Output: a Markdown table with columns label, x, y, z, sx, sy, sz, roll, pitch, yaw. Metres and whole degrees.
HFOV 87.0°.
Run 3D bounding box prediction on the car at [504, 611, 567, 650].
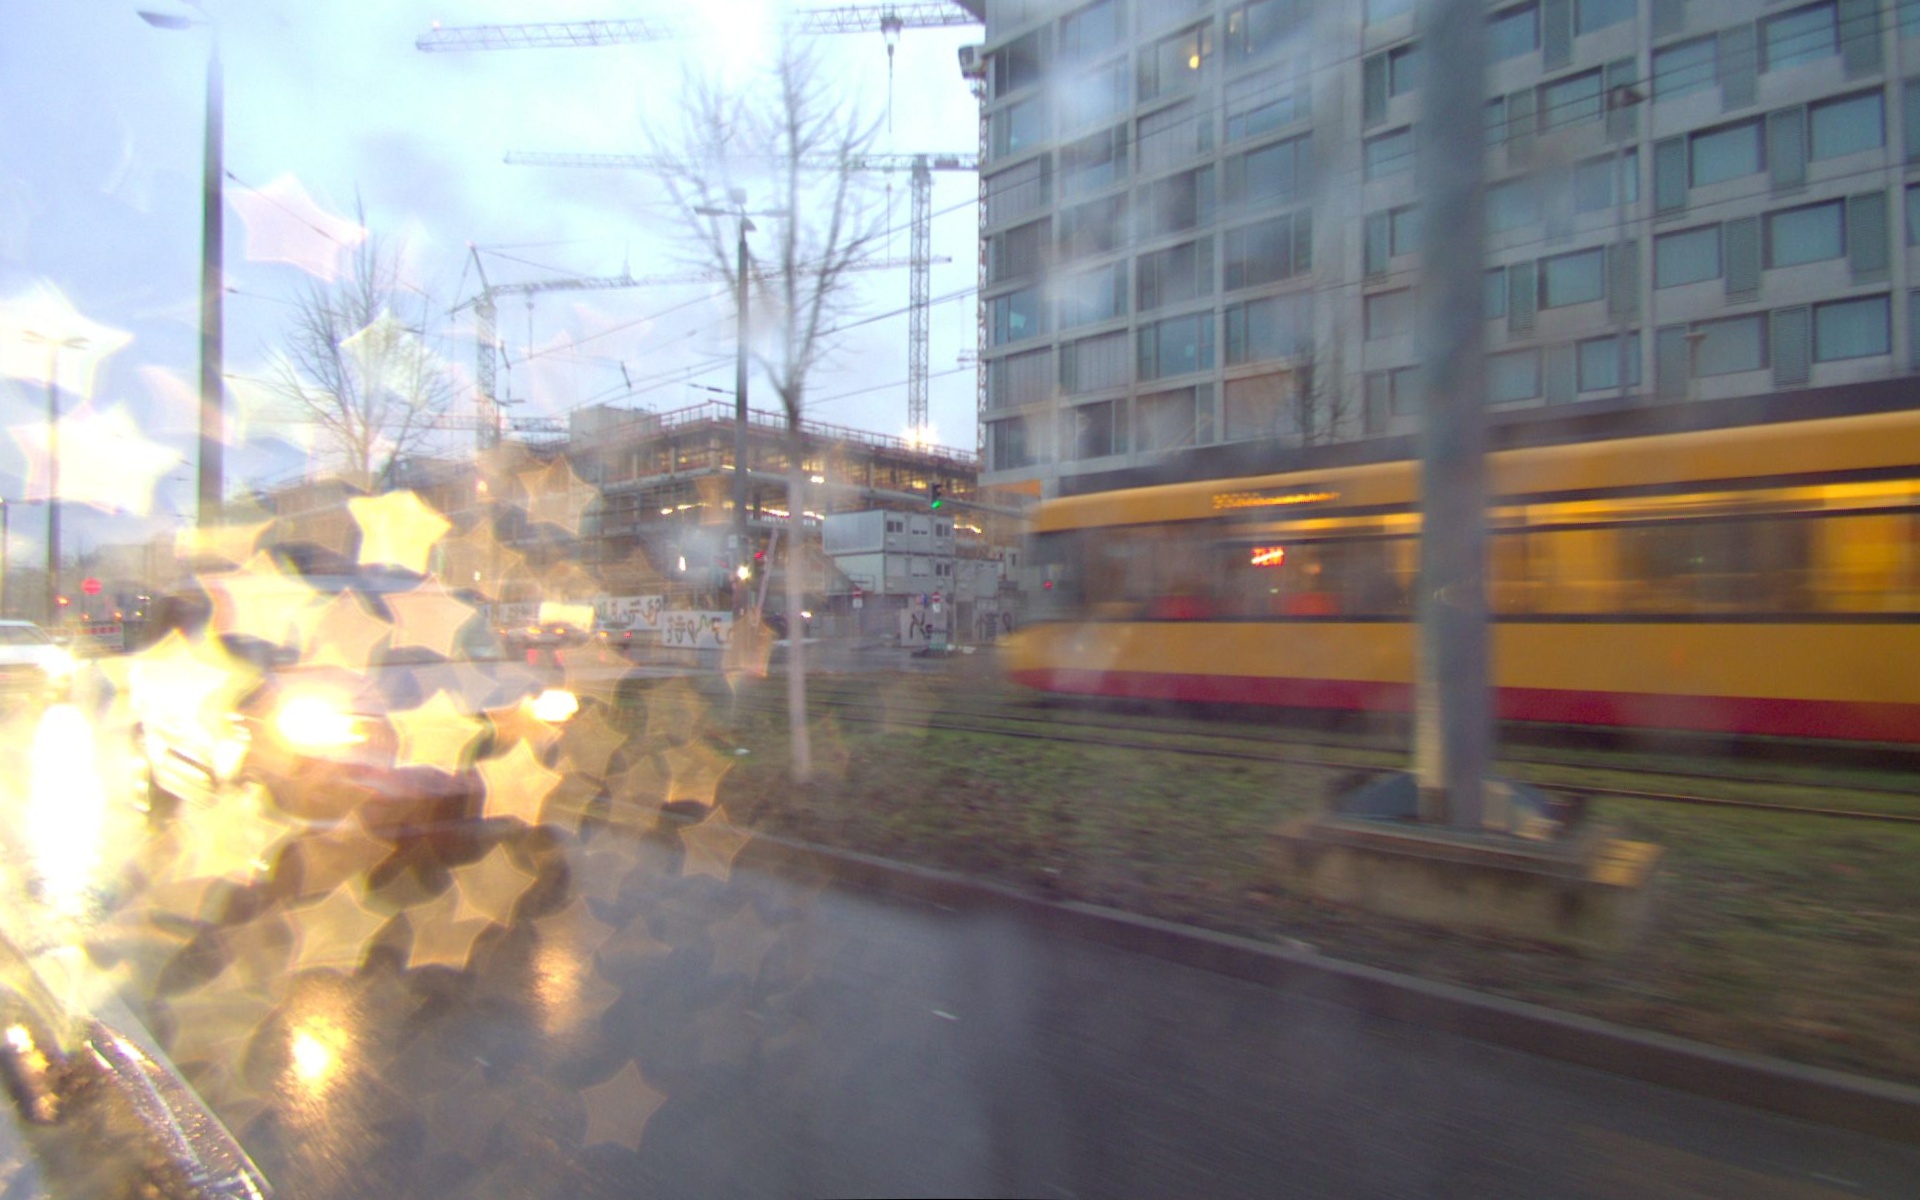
| label | x | y | z | sx | sy | sz | roll | pitch | yaw |
| --- | --- | --- | --- | --- | --- | --- | --- | --- | --- |
| car | -23.102 | 1.649 | 55.009 | 1.969 | 2.029 | 4.005 | 1 | -2 | -42 |

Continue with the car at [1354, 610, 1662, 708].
| label | x | y | z | sx | sy | sz | roll | pitch | yaw |
| --- | --- | --- | --- | --- | --- | --- | --- | --- | --- |
| car | 9.279 | 0.961 | 17.534 | 4.426 | 1.508 | 1.982 | -1 | -1 | 26 |

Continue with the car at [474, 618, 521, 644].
| label | x | y | z | sx | sy | sz | roll | pitch | yaw |
| --- | --- | --- | --- | --- | --- | --- | --- | --- | --- |
| car | -32.519 | 2.147 | 71.082 | 1.884 | 1.756 | 4.005 | 1 | -2 | -42 |

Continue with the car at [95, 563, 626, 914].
| label | x | y | z | sx | sy | sz | roll | pitch | yaw |
| --- | --- | --- | --- | --- | --- | --- | --- | --- | --- |
| car | -4.450 | 0.709 | 7.184 | 4.532 | 1.749 | 1.776 | -1 | 0 | 39 |

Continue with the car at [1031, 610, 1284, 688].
| label | x | y | z | sx | sy | sz | roll | pitch | yaw |
| --- | --- | --- | --- | --- | --- | --- | --- | --- | --- |
| car | 4.101 | 0.994 | 21.644 | 5.033 | 1.479 | 1.972 | -1 | -2 | 42 |

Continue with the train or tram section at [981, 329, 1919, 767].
| label | x | y | z | sx | sy | sz | roll | pitch | yaw |
| --- | --- | --- | --- | --- | --- | --- | --- | --- | --- |
| train or tram section | 6.600 | -0.348 | 11.053 | 14.313 | 3.513 | 2.926 | -1 | -2 | 42 |

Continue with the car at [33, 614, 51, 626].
| label | x | y | z | sx | sy | sz | roll | pitch | yaw |
| --- | --- | --- | --- | --- | --- | --- | --- | --- | --- |
| car | -162.625 | 3.509 | 179.246 | 3.999 | 2.029 | 1.972 | -1 | -2 | 42 |

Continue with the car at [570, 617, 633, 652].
| label | x | y | z | sx | sy | sz | roll | pitch | yaw |
| --- | --- | --- | --- | --- | --- | --- | --- | --- | --- |
| car | -20.126 | 1.923 | 56.742 | 1.969 | 1.863 | 4.005 | 1 | -2 | -42 |

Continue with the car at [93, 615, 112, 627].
| label | x | y | z | sx | sy | sz | roll | pitch | yaw |
| --- | --- | --- | --- | --- | --- | --- | --- | --- | --- |
| car | -139.241 | 3.418 | 164.280 | 4.002 | 1.837 | 1.971 | -2 | -2 | 45 |

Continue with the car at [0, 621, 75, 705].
| label | x | y | z | sx | sy | sz | roll | pitch | yaw |
| --- | --- | --- | --- | --- | --- | --- | --- | --- | --- |
| car | -18.343 | 1.141 | 19.059 | 4.610 | 1.416 | 1.828 | -1 | 0 | 40 |
